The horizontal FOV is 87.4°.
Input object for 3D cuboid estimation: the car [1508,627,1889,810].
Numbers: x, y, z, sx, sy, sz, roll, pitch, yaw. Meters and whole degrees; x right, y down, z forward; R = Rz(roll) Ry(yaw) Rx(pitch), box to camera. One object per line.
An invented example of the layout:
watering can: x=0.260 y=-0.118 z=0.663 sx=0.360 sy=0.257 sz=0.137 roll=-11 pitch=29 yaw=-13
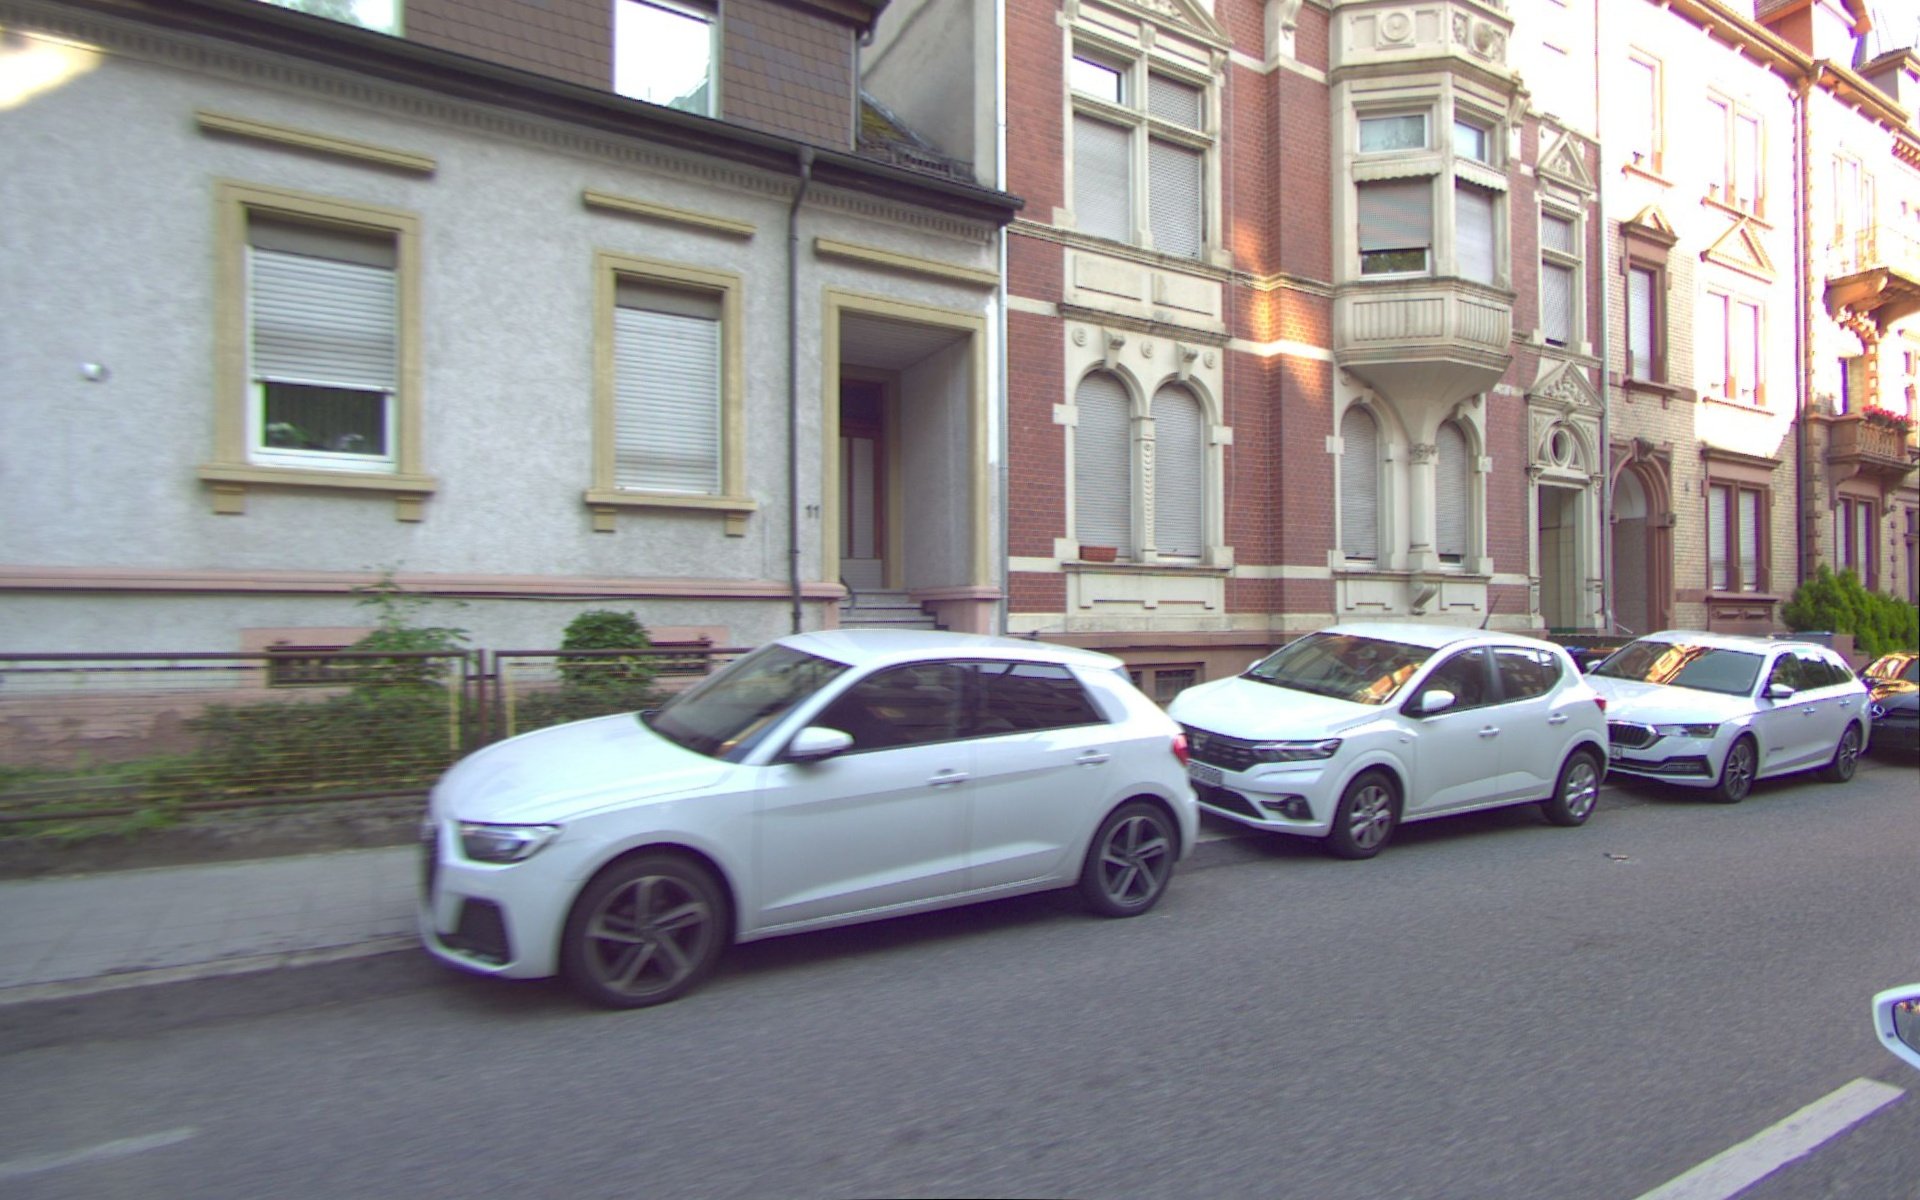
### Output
car: x=7.945 y=1.096 z=10.686 sx=4.498 sy=1.557 sz=1.693 roll=1 pitch=0 yaw=-32

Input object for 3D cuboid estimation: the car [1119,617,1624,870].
car: x=3.344 y=0.934 z=7.969 sx=3.975 sy=1.523 sz=1.693 roll=1 pitch=0 yaw=-32

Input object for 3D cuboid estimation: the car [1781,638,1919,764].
car: x=12.348 y=1.214 z=12.853 sx=3.816 sy=1.385 sz=1.693 roll=1 pitch=0 yaw=-32

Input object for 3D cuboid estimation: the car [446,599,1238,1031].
car: x=-0.519 y=0.793 z=5.279 sx=3.780 sy=1.523 sz=1.693 roll=1 pitch=0 yaw=-32
